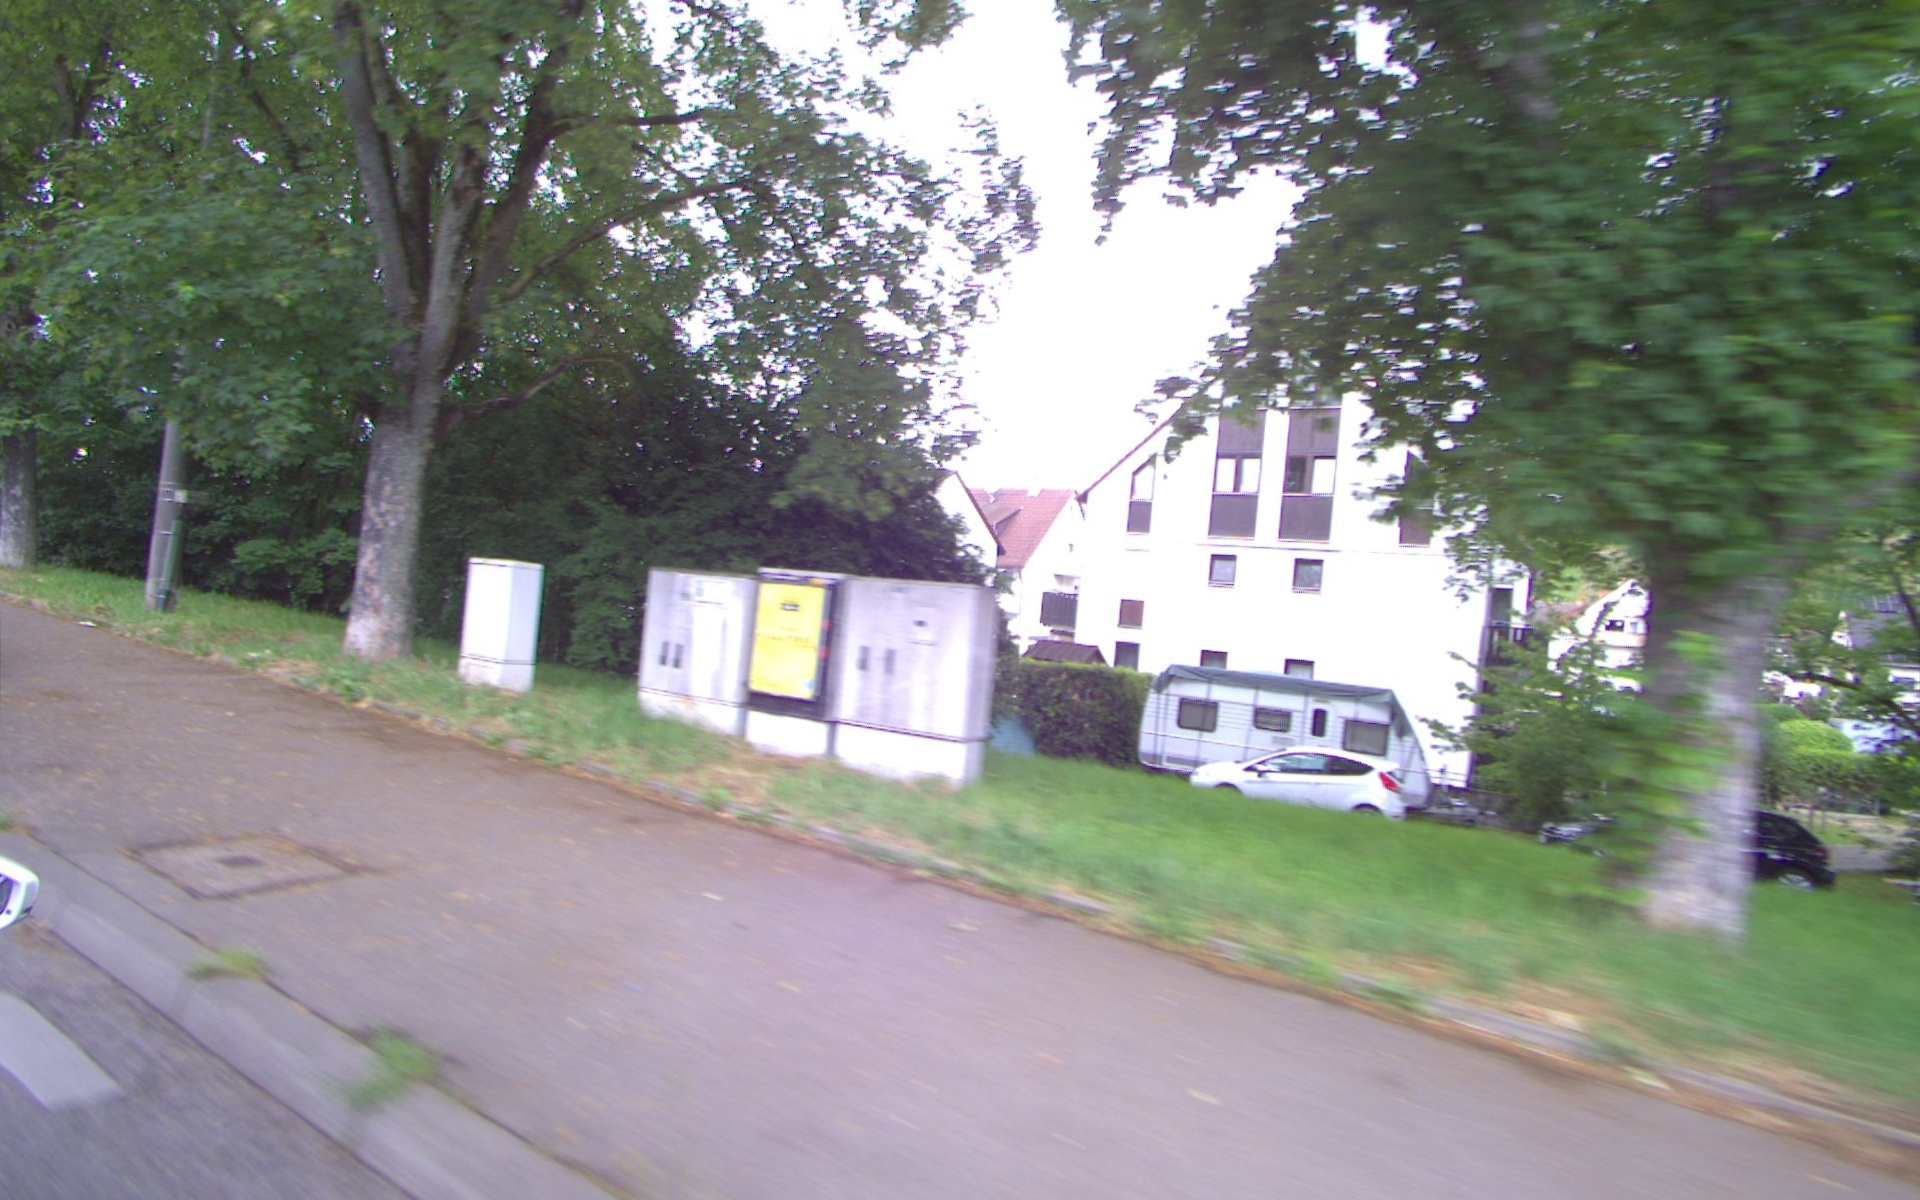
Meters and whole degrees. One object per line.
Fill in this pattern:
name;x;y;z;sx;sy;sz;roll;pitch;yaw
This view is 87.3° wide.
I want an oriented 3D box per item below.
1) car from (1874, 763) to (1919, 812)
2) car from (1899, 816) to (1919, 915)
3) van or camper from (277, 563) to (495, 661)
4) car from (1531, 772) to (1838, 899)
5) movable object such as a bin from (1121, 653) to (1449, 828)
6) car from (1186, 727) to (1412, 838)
car;32.093;6.234;31.974;1.963;1.441;4.476;7;-4;2
car;16.945;4.359;14.773;4.210;1.477;1.668;6;-3;21
van or camper;-16.457;0.342;28.850;5.734;2.035;2.187;6;-3;23
car;11.925;3.857;16.855;3.786;1.260;1.629;6;-4;21
movable object such as a bin;6.833;2.876;21.480;6.158;2.652;2.002;6;-3;23
car;6.357;3.372;19.017;3.769;1.401;1.485;6;-3;21
